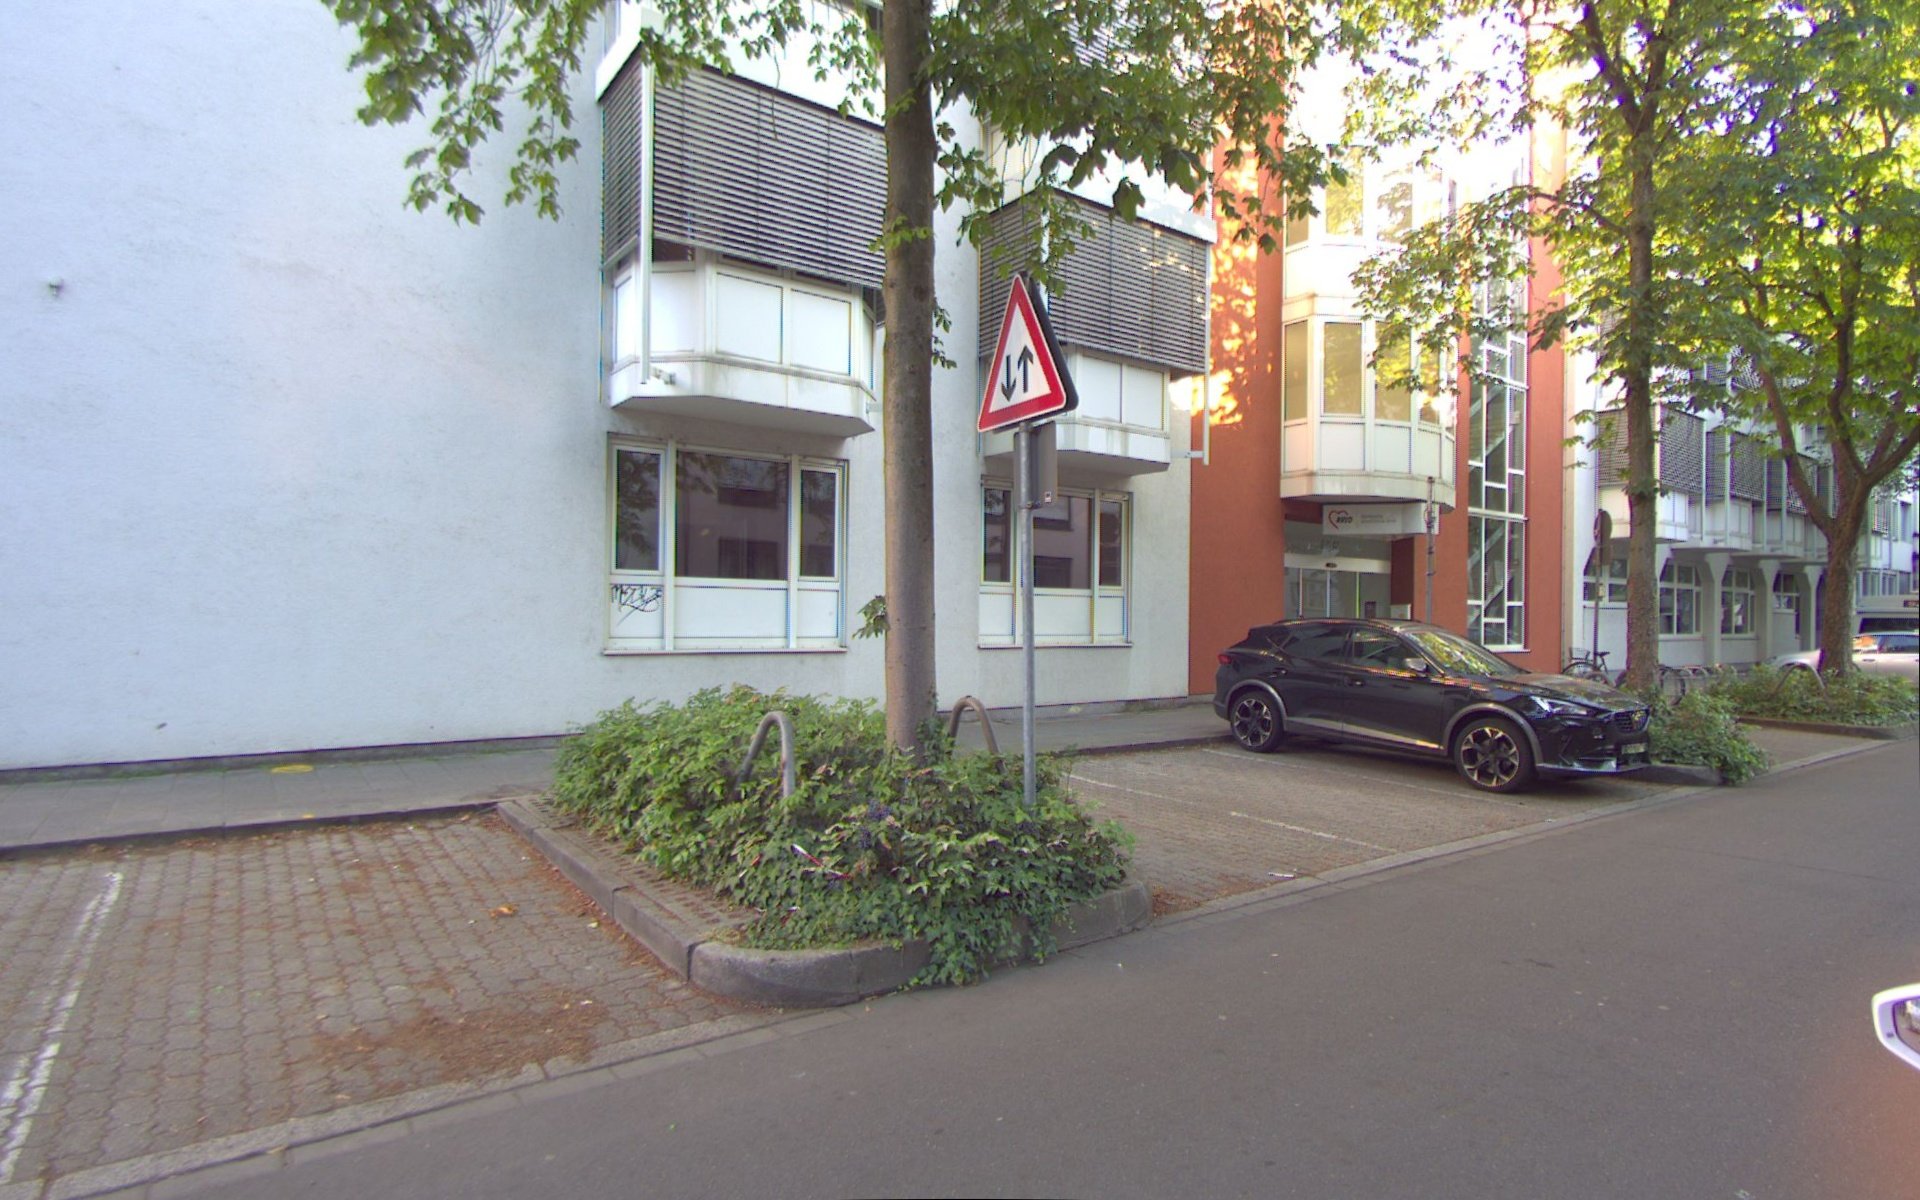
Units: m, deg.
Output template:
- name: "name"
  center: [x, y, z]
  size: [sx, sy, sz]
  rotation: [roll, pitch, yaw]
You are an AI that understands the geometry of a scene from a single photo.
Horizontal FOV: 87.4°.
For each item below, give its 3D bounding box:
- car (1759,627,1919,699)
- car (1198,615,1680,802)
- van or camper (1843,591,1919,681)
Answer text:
- name: "car"
  center: [21.226, 1.427, 23.272]
  size: [1.767, 1.537, 3.942]
  rotation: [1, -1, -35]
- name: "car"
  center: [4.779, 0.947, 10.648]
  size: [1.768, 1.537, 4.325]
  rotation: [1, -1, -35]
- name: "van or camper"
  center: [27.967, 1.019, 28.072]
  size: [1.981, 2.511, 4.632]
  rotation: [1, -1, -36]
